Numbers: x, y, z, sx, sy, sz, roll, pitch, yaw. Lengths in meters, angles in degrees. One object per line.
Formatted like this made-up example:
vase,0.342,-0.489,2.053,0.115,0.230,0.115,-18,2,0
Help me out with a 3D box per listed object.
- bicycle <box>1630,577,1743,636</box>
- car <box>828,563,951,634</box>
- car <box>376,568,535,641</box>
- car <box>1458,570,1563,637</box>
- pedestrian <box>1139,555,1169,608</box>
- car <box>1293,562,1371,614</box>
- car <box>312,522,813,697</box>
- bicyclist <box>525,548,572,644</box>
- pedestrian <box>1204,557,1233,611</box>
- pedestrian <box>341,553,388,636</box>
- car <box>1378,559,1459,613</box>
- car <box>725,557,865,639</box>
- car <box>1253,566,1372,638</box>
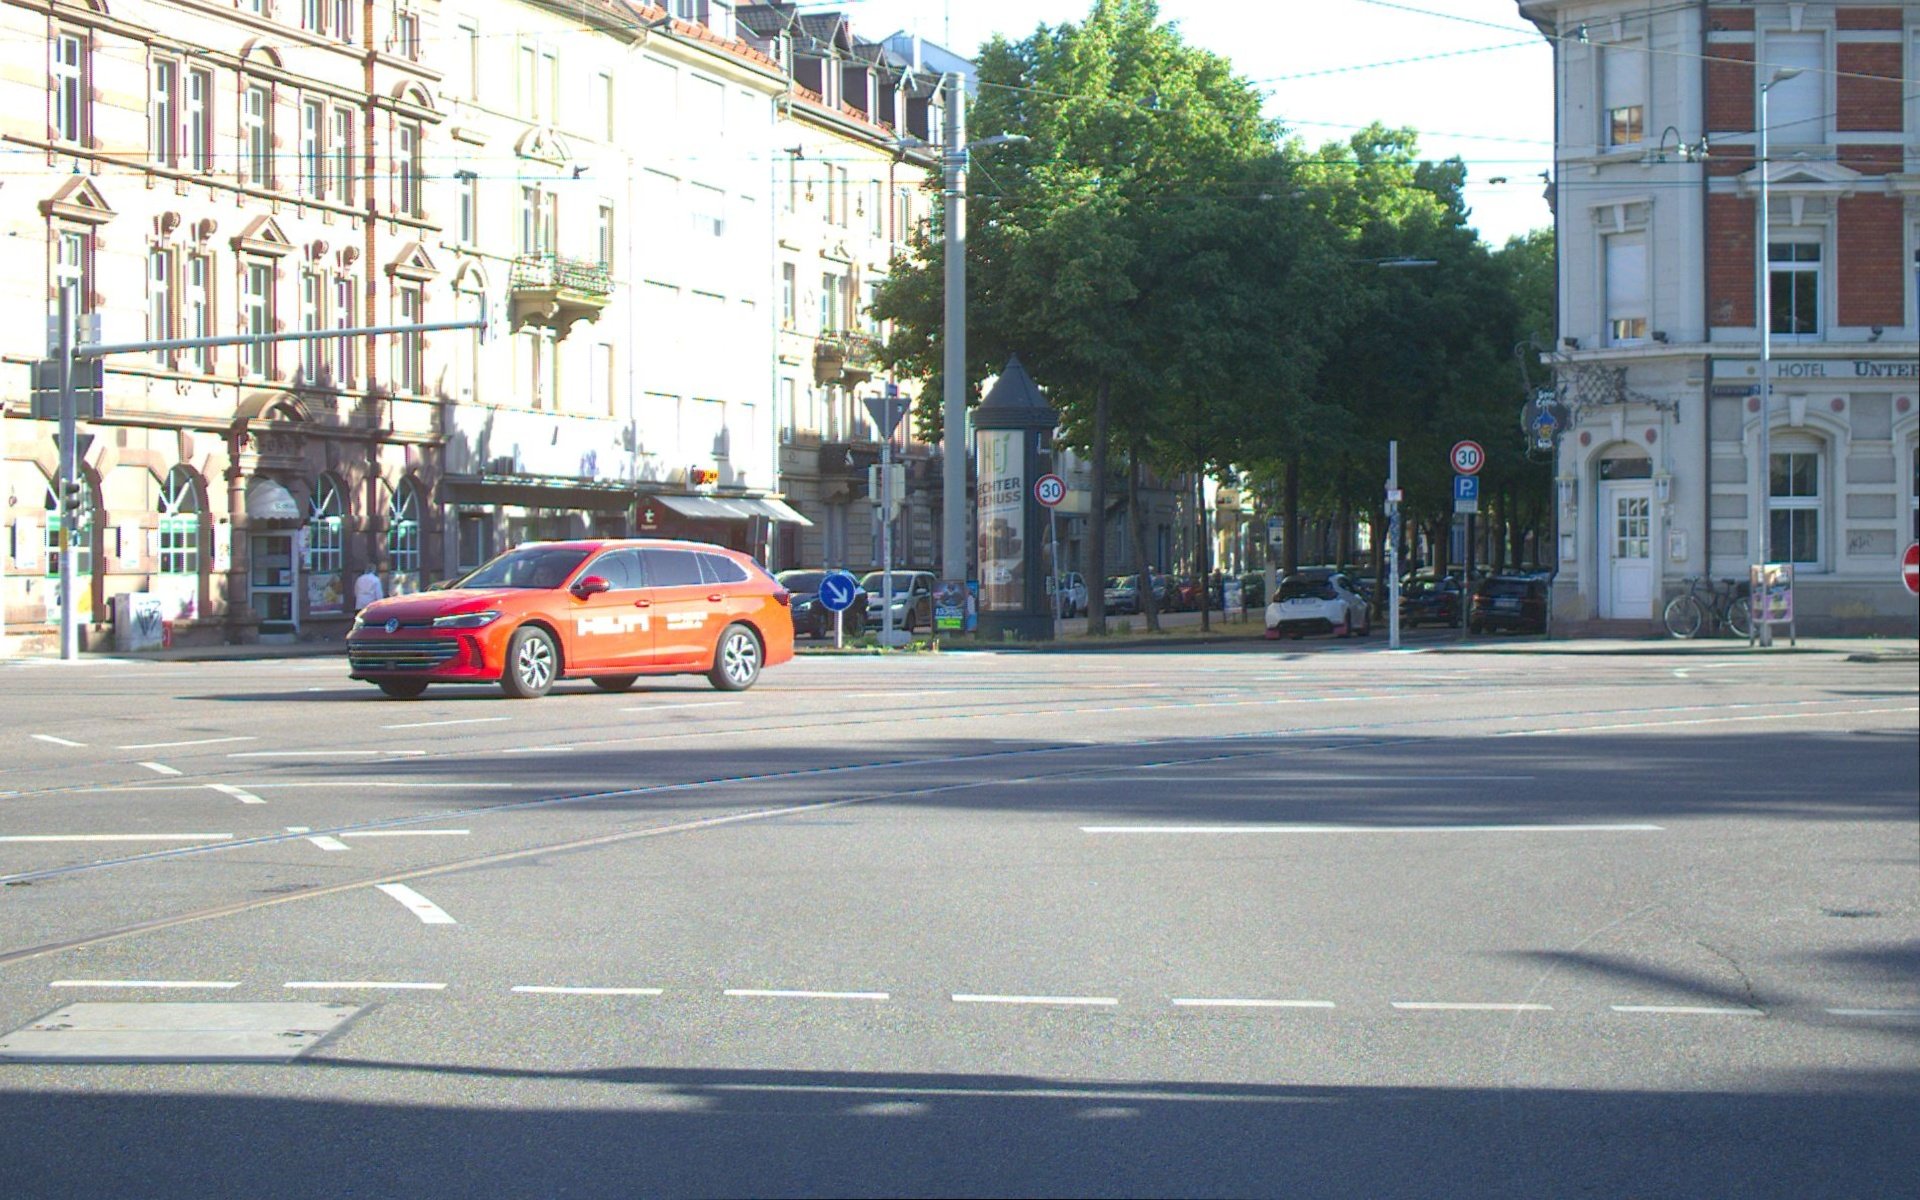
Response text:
bicycle,12.072,0.104,57.119,1.804,0.959,0.603,1,0,14
car,-1.610,-0.056,79.544,1.804,1.570,3.888,1,1,15
car,-9.837,0.071,67.249,1.661,1.369,3.889,1,1,15
car,13.222,0.068,82.418,1.758,1.550,3.996,1,1,20
pedestrian,6.617,-0.633,117.415,0.709,1.784,0.697,1,0,-36
car,12.629,-0.416,116.610,1.995,1.678,3.997,1,1,15
car,-3.645,0.027,32.410,1.801,1.464,4.864,2,3,38
bicyclist,-7.823,-0.078,65.340,0.565,1.797,0.913,1,0,15
pedestrian,9.764,-0.595,129.690,0.753,2.007,0.998,1,0,25
pedestrian,-11.844,-0.114,68.403,0.568,1.636,0.792,1,0,23
car,12.274,-0.390,91.888,1.826,1.398,3.998,0,1,12
car,-3.482,-0.054,73.239,1.826,1.679,3.872,1,1,16
car,7.854,0.029,76.345,1.894,1.449,4.005,0,2,17
